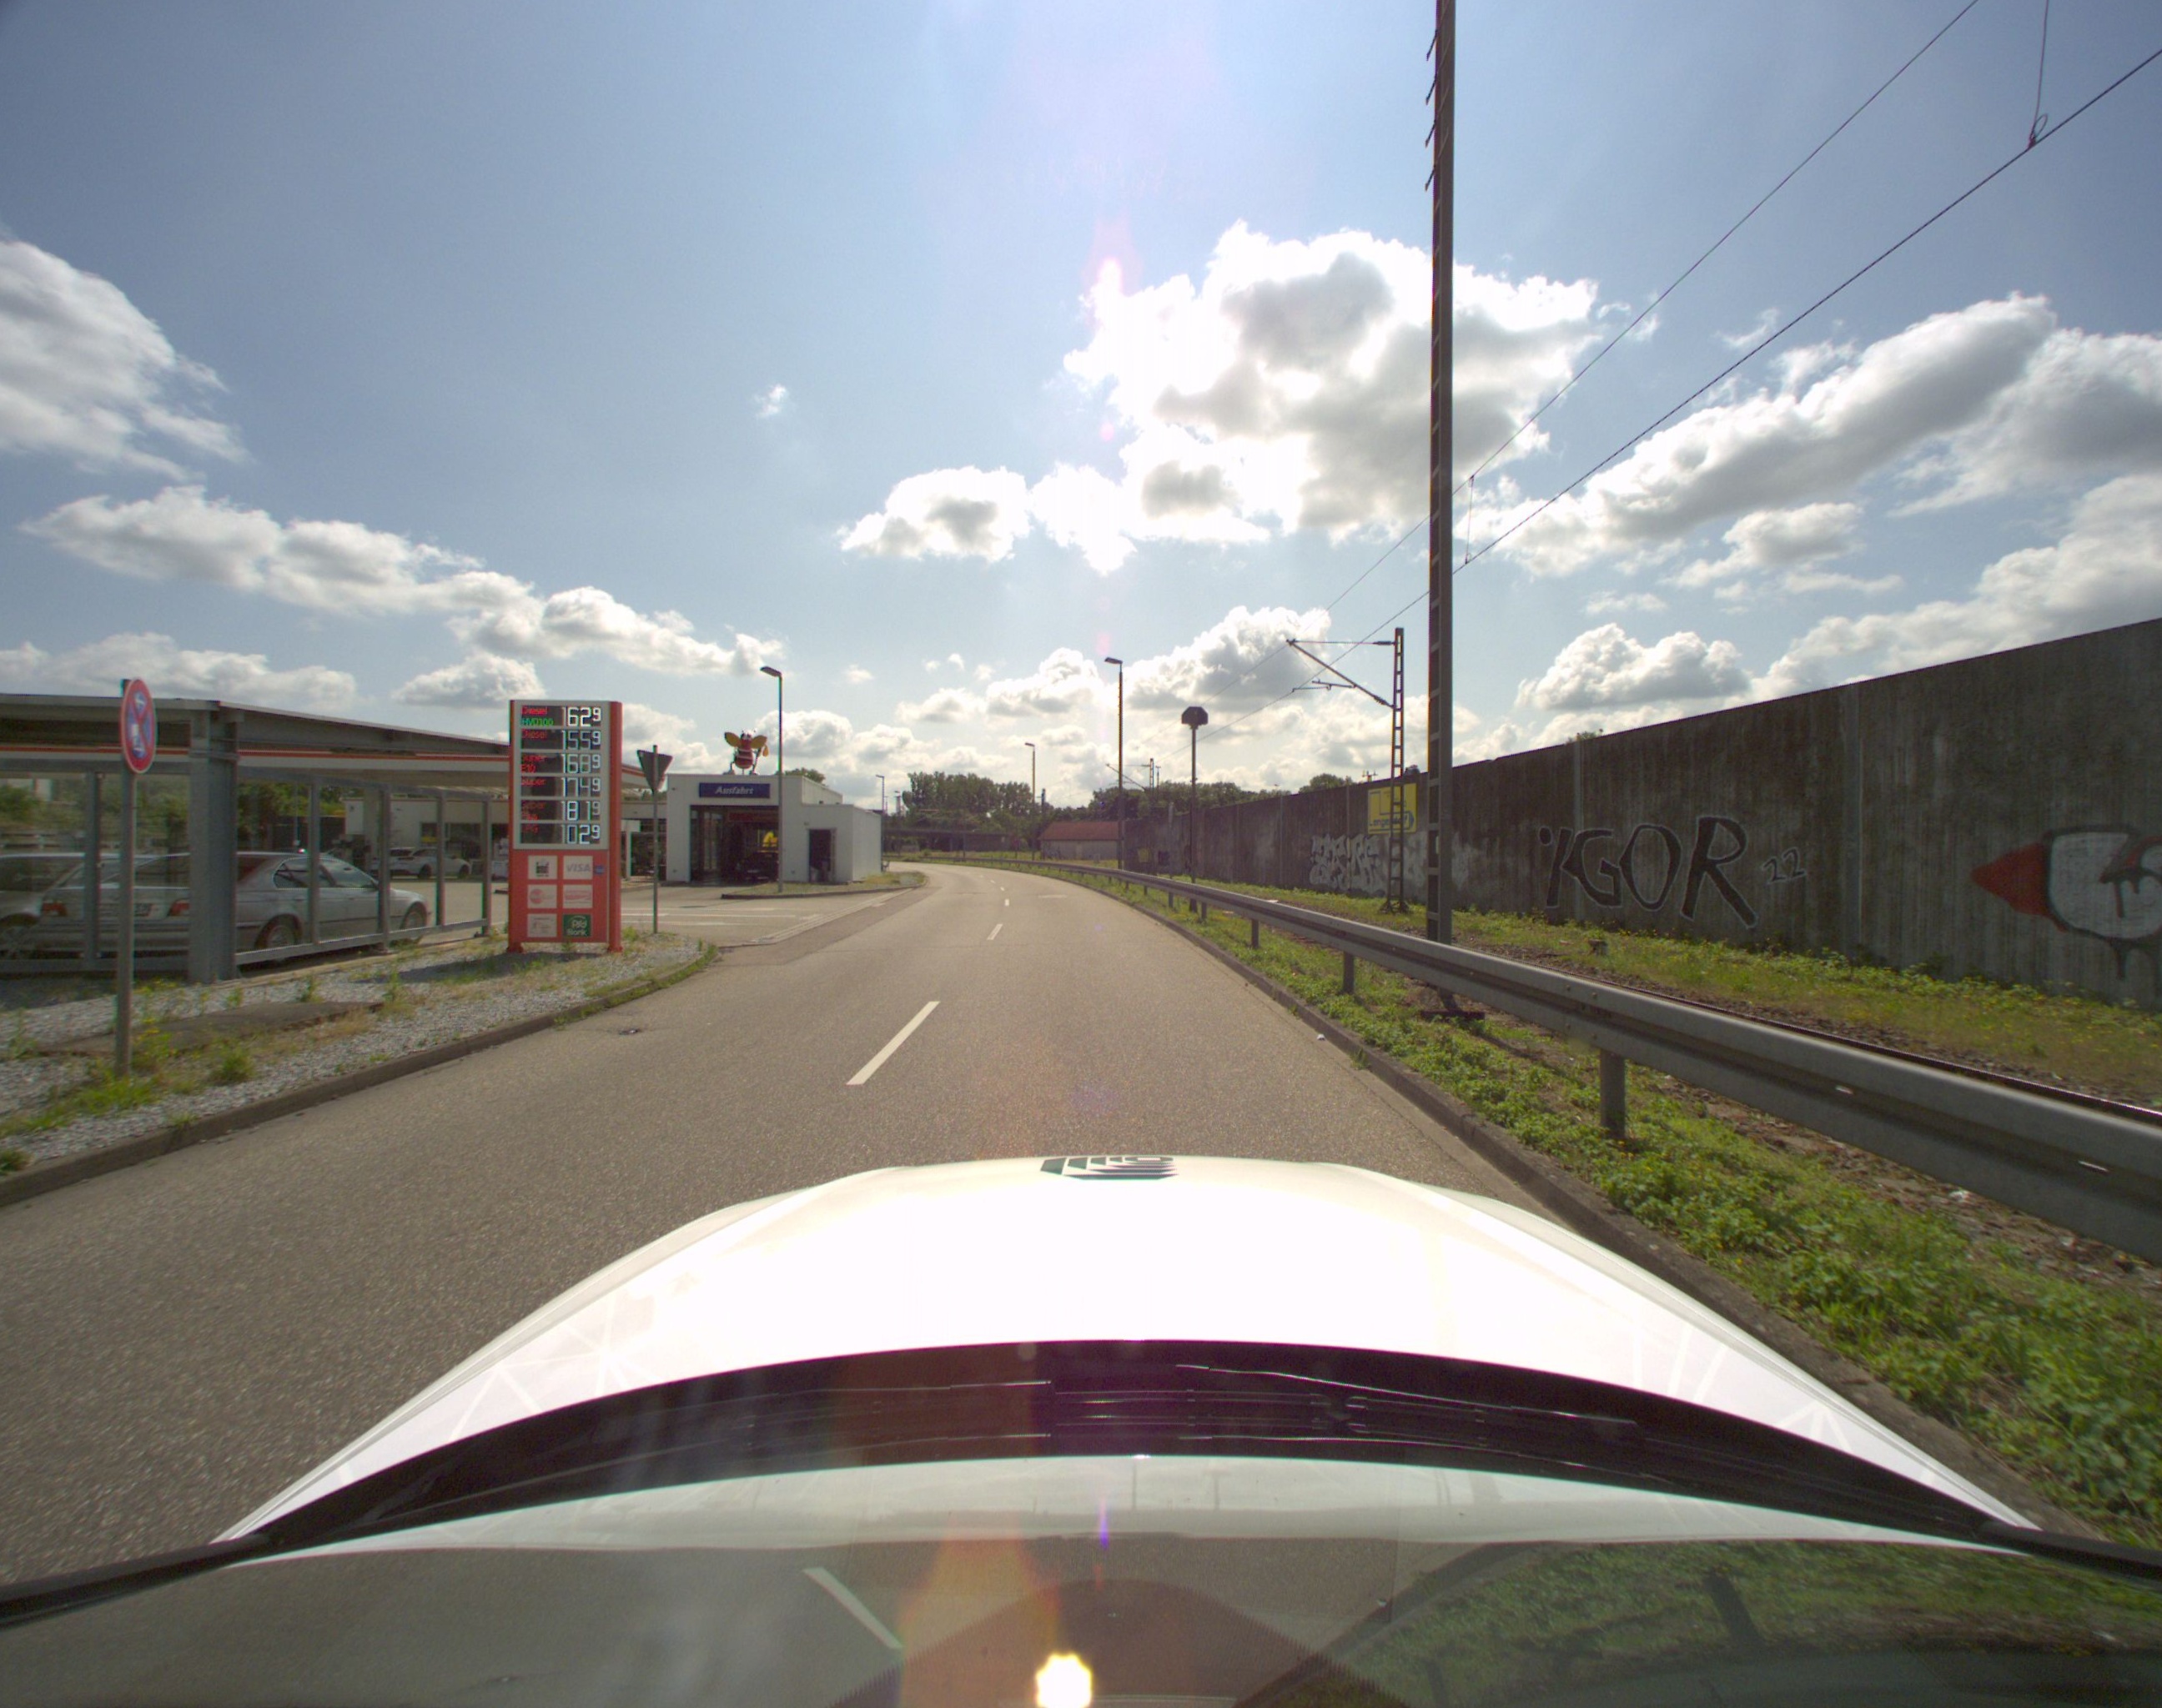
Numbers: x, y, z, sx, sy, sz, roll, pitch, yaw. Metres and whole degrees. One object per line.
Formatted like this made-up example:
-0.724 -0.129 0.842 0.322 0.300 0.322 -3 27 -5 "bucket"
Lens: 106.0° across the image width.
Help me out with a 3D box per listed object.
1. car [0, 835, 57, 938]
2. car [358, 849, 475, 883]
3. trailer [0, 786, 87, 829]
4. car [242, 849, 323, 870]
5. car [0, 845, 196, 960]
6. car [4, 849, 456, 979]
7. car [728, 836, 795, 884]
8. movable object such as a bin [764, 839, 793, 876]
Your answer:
-16.389 0.472 10.259 1.993 1.497 4.237 0 0 -10 "car"
-30.112 0.540 37.110 1.889 1.431 4.577 -1 0 -5 "car"
-82.392 -3.641 61.142 2.147 2.965 13.431 0 0 -14 "trailer"
-59.989 0.436 61.249 3.988 1.505 1.883 -1 0 -11 "car"
-13.531 0.565 10.298 1.594 1.345 3.045 1 -1 -10 "car"
-10.961 0.660 11.169 1.919 1.377 4.770 1 -1 -13 "car"
-15.030 0.265 38.597 1.994 2.109 4.993 -1 0 -10 "car"
-17.963 0.239 48.484 1.062 2.153 2.695 0 -2 -9 "movable object such as a bin"
